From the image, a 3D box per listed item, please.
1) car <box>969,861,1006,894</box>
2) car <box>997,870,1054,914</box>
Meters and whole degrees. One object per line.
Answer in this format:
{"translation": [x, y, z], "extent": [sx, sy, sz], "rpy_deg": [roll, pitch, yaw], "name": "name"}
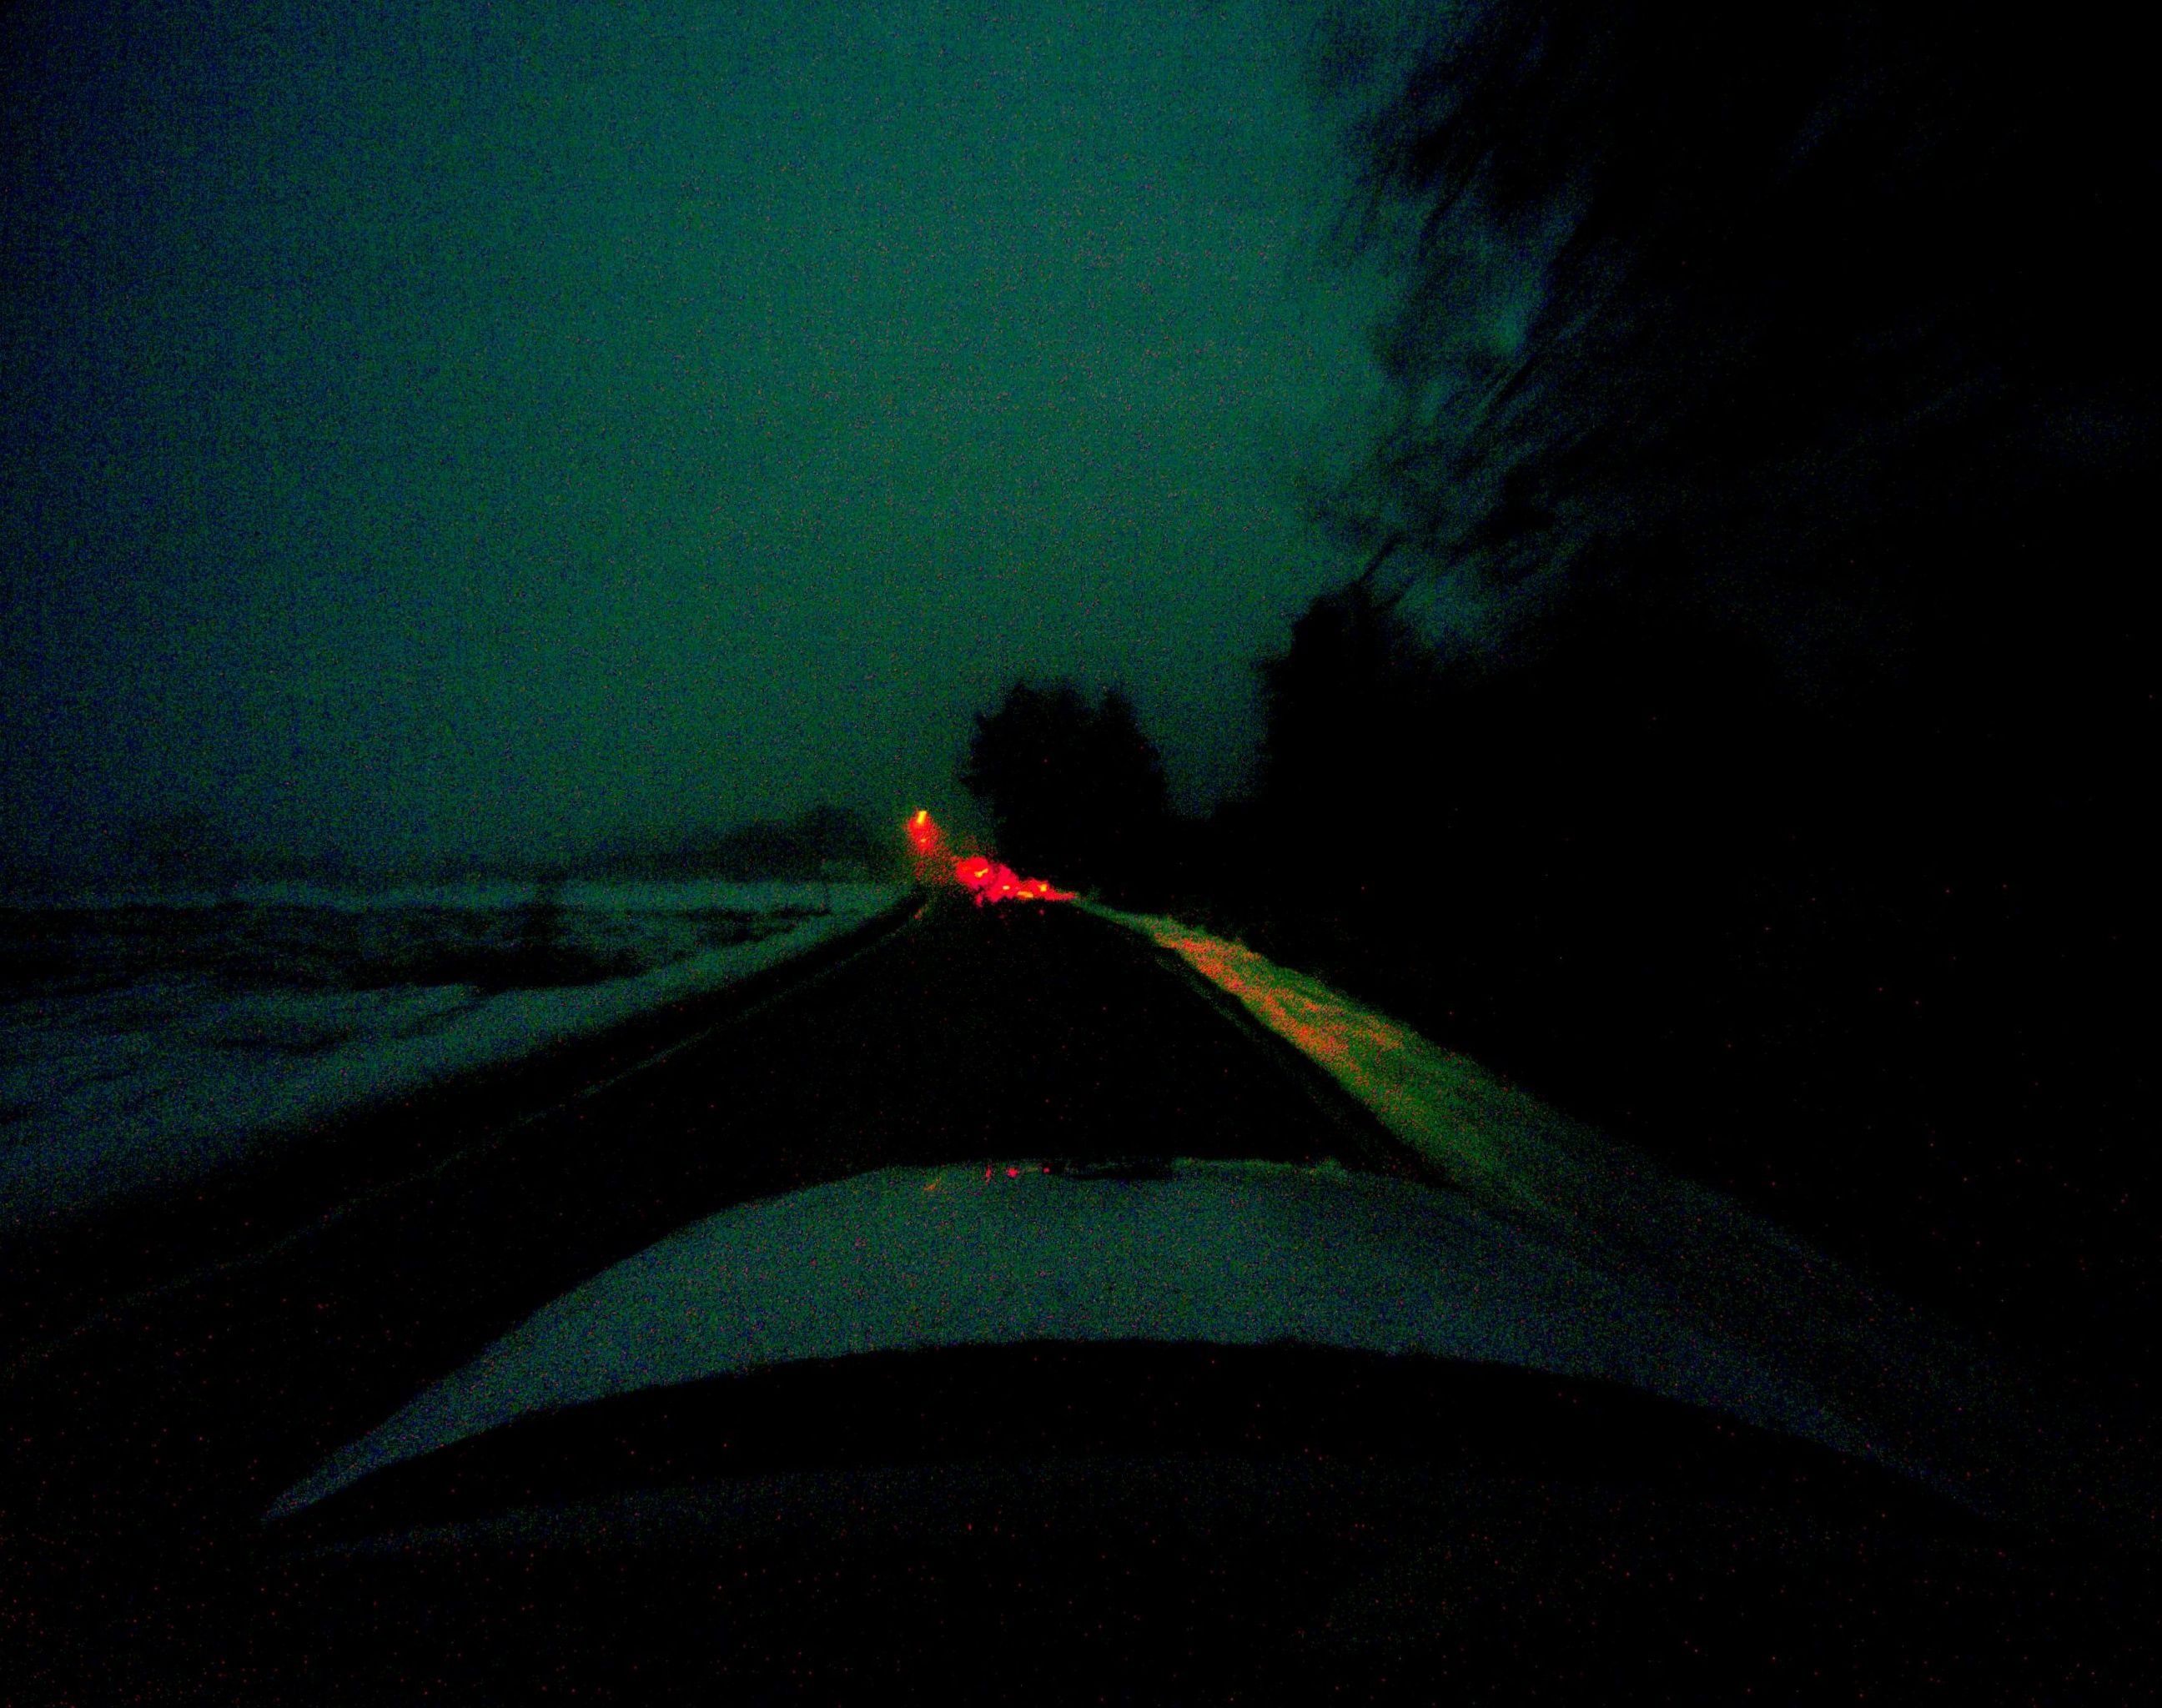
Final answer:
{"translation": [-5.367, 1.355, 46.943], "extent": [1.991, 1.750, 3.991], "rpy_deg": [-1, -1, -6], "name": "car"}
{"translation": [-2.164, 1.402, 31.113], "extent": [1.991, 1.508, 3.992], "rpy_deg": [-1, -1, -6], "name": "car"}
